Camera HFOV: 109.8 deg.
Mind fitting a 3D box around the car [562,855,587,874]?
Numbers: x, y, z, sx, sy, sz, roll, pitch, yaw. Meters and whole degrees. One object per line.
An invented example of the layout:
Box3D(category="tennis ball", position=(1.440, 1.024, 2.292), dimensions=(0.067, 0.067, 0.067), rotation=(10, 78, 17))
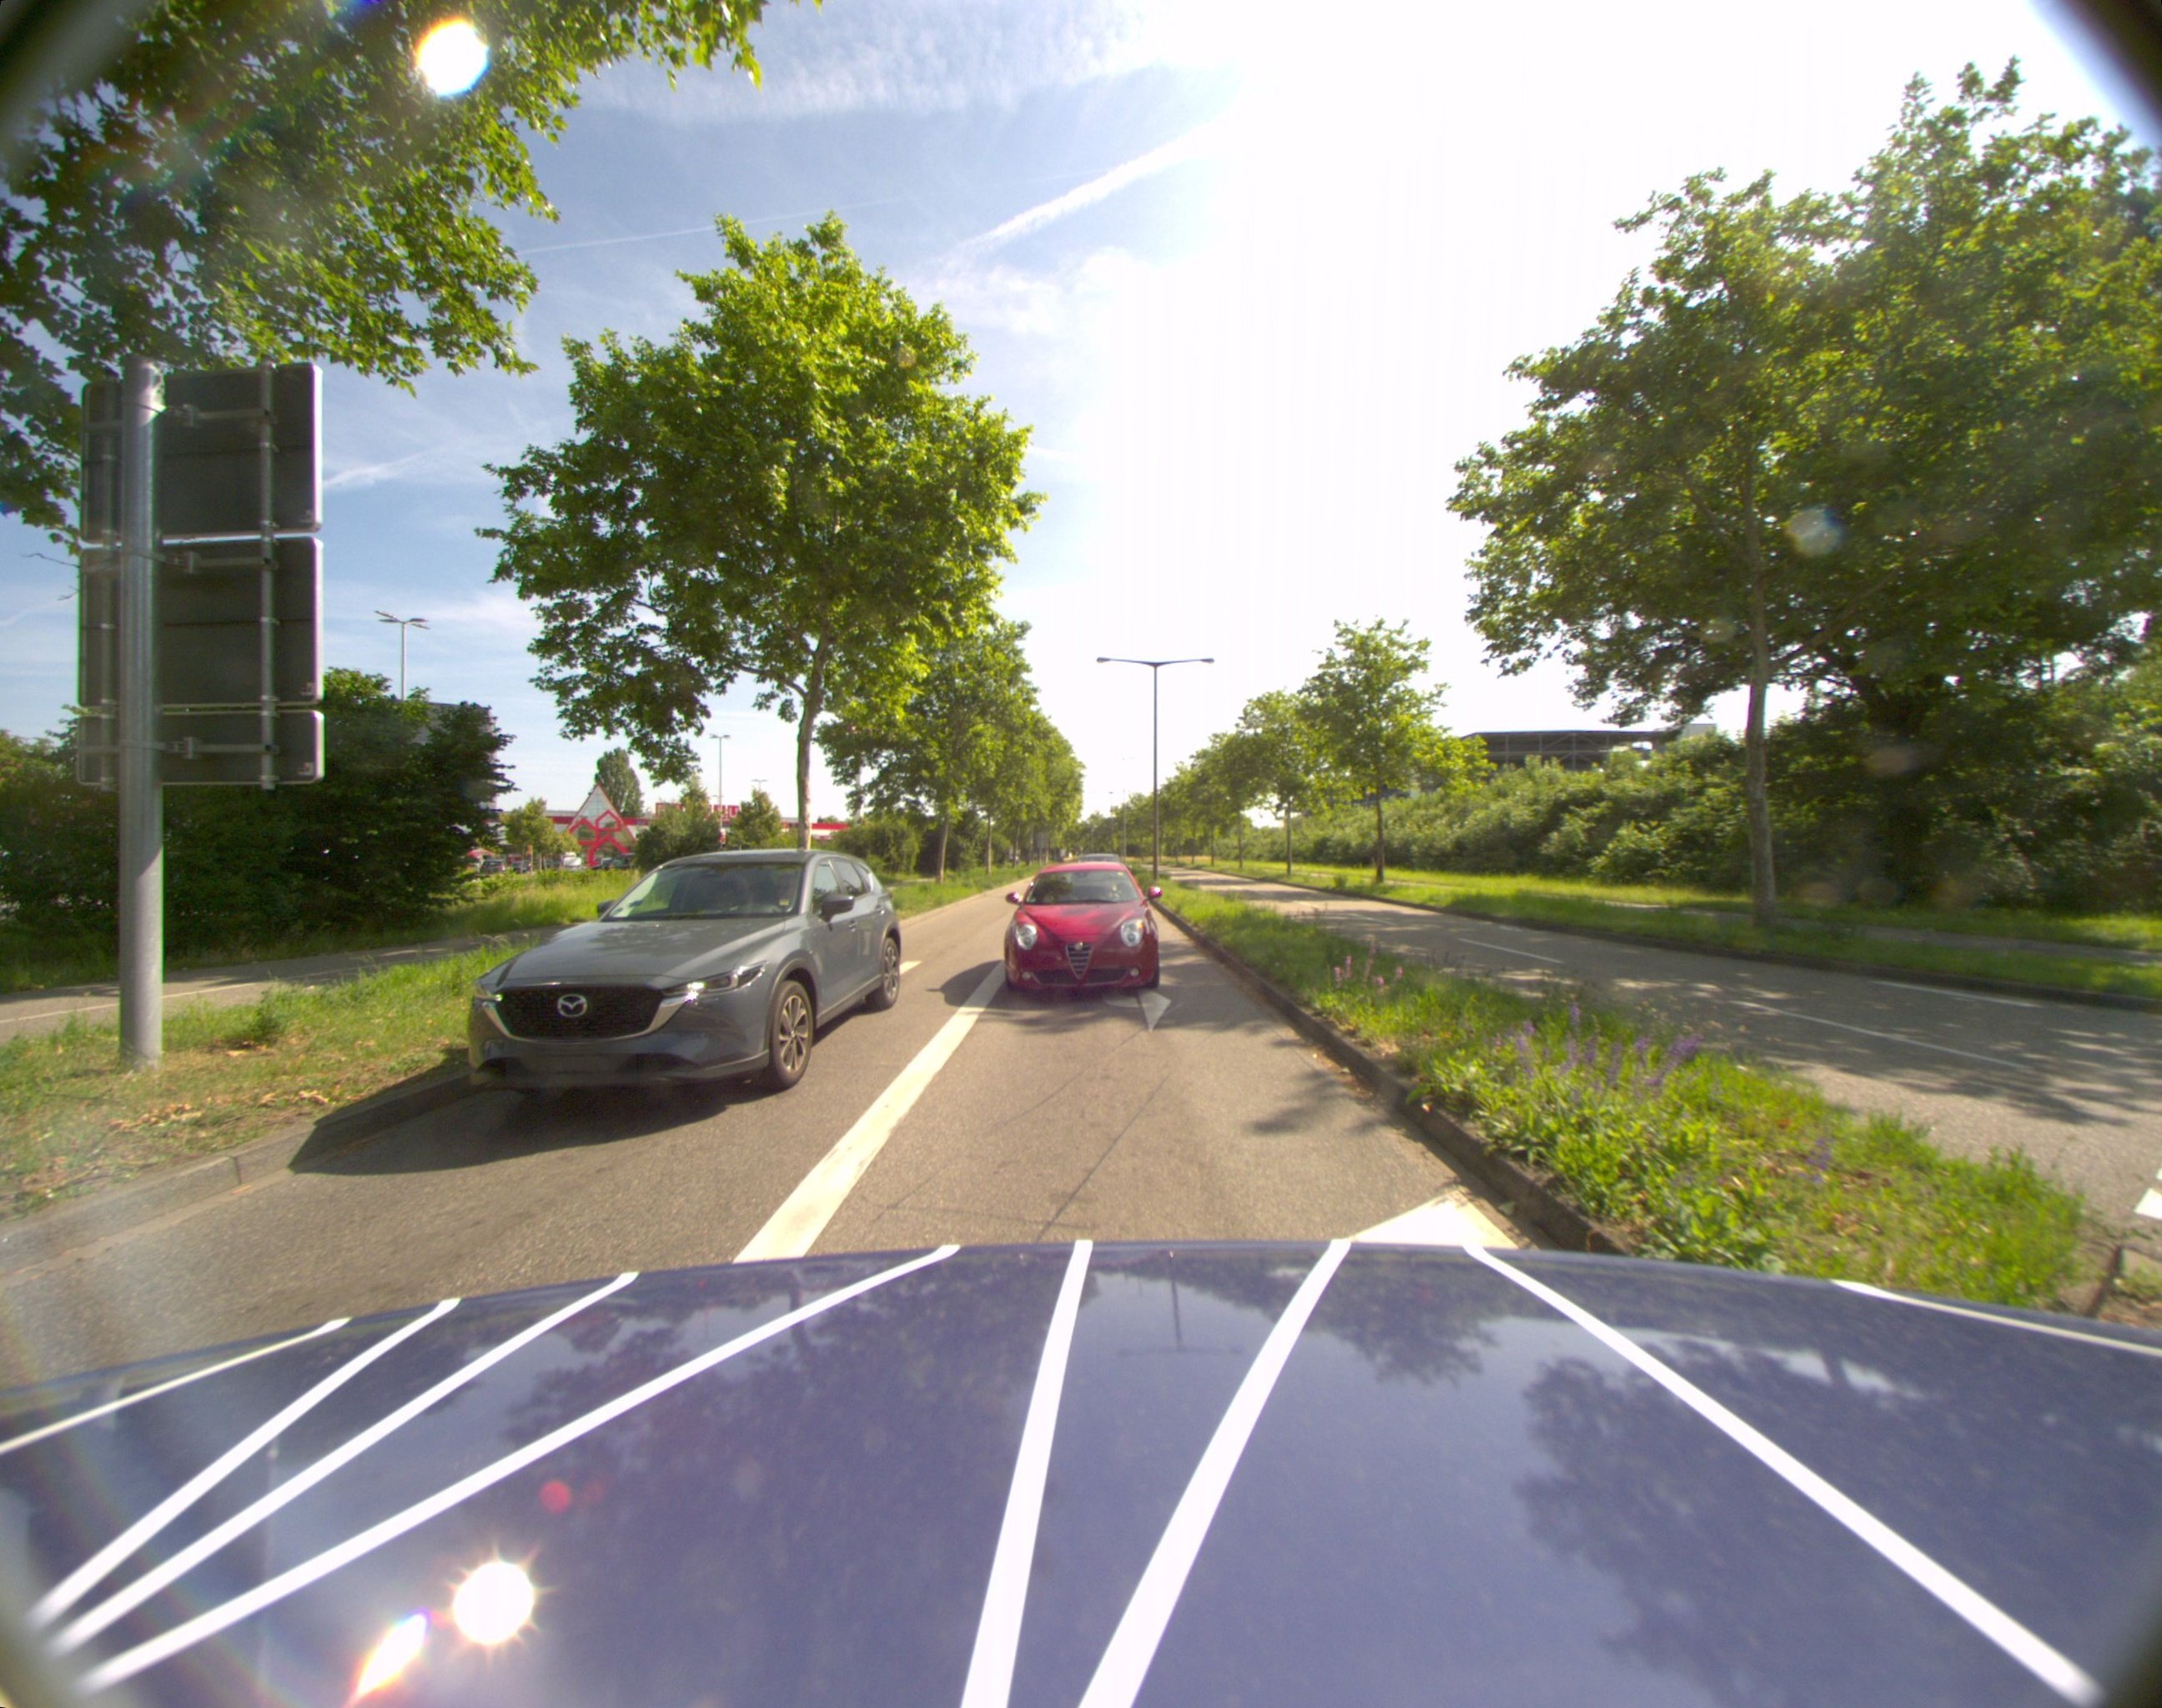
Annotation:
Box3D(category="car", position=(-41.943, 0.840, 62.881), dimensions=(1.693, 1.565, 3.989), rotation=(0, 1, -34))

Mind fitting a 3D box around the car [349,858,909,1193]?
Box3D(category="car", position=(-2.857, 0.904, 6.195), dimensions=(1.770, 1.649, 4.496), rotation=(-2, 0, 1))

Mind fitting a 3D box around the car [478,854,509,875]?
Box3D(category="car", position=(-46.508, 0.808, 60.213), dimensions=(1.693, 1.565, 3.989), rotation=(0, 1, -34))

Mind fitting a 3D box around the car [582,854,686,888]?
Box3D(category="car", position=(-21.414, 0.786, 36.513), dimensions=(3.861, 1.576, 1.848), rotation=(0, 1, -5))

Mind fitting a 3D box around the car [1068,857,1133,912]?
Box3D(category="car", position=(0.622, 0.899, 24.093), dimensions=(1.874, 1.536, 4.081), rotation=(-1, 0, 1))

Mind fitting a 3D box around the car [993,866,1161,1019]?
Box3D(category="car", position=(0.009, 0.940, 9.699), dimensions=(1.658, 1.430, 3.908), rotation=(-2, 0, 1))

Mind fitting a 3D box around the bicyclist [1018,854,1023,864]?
Box3D(category="bicyclist", position=(-9.925, 0.888, 124.536), dimensions=(0.687, 1.622, 1.001), rotation=(0, 1, -7))

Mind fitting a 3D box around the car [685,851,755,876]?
Box3D(category="car", position=(-23.987, 0.584, 50.508), dimensions=(3.869, 1.576, 1.844), rotation=(0, 1, -37))
